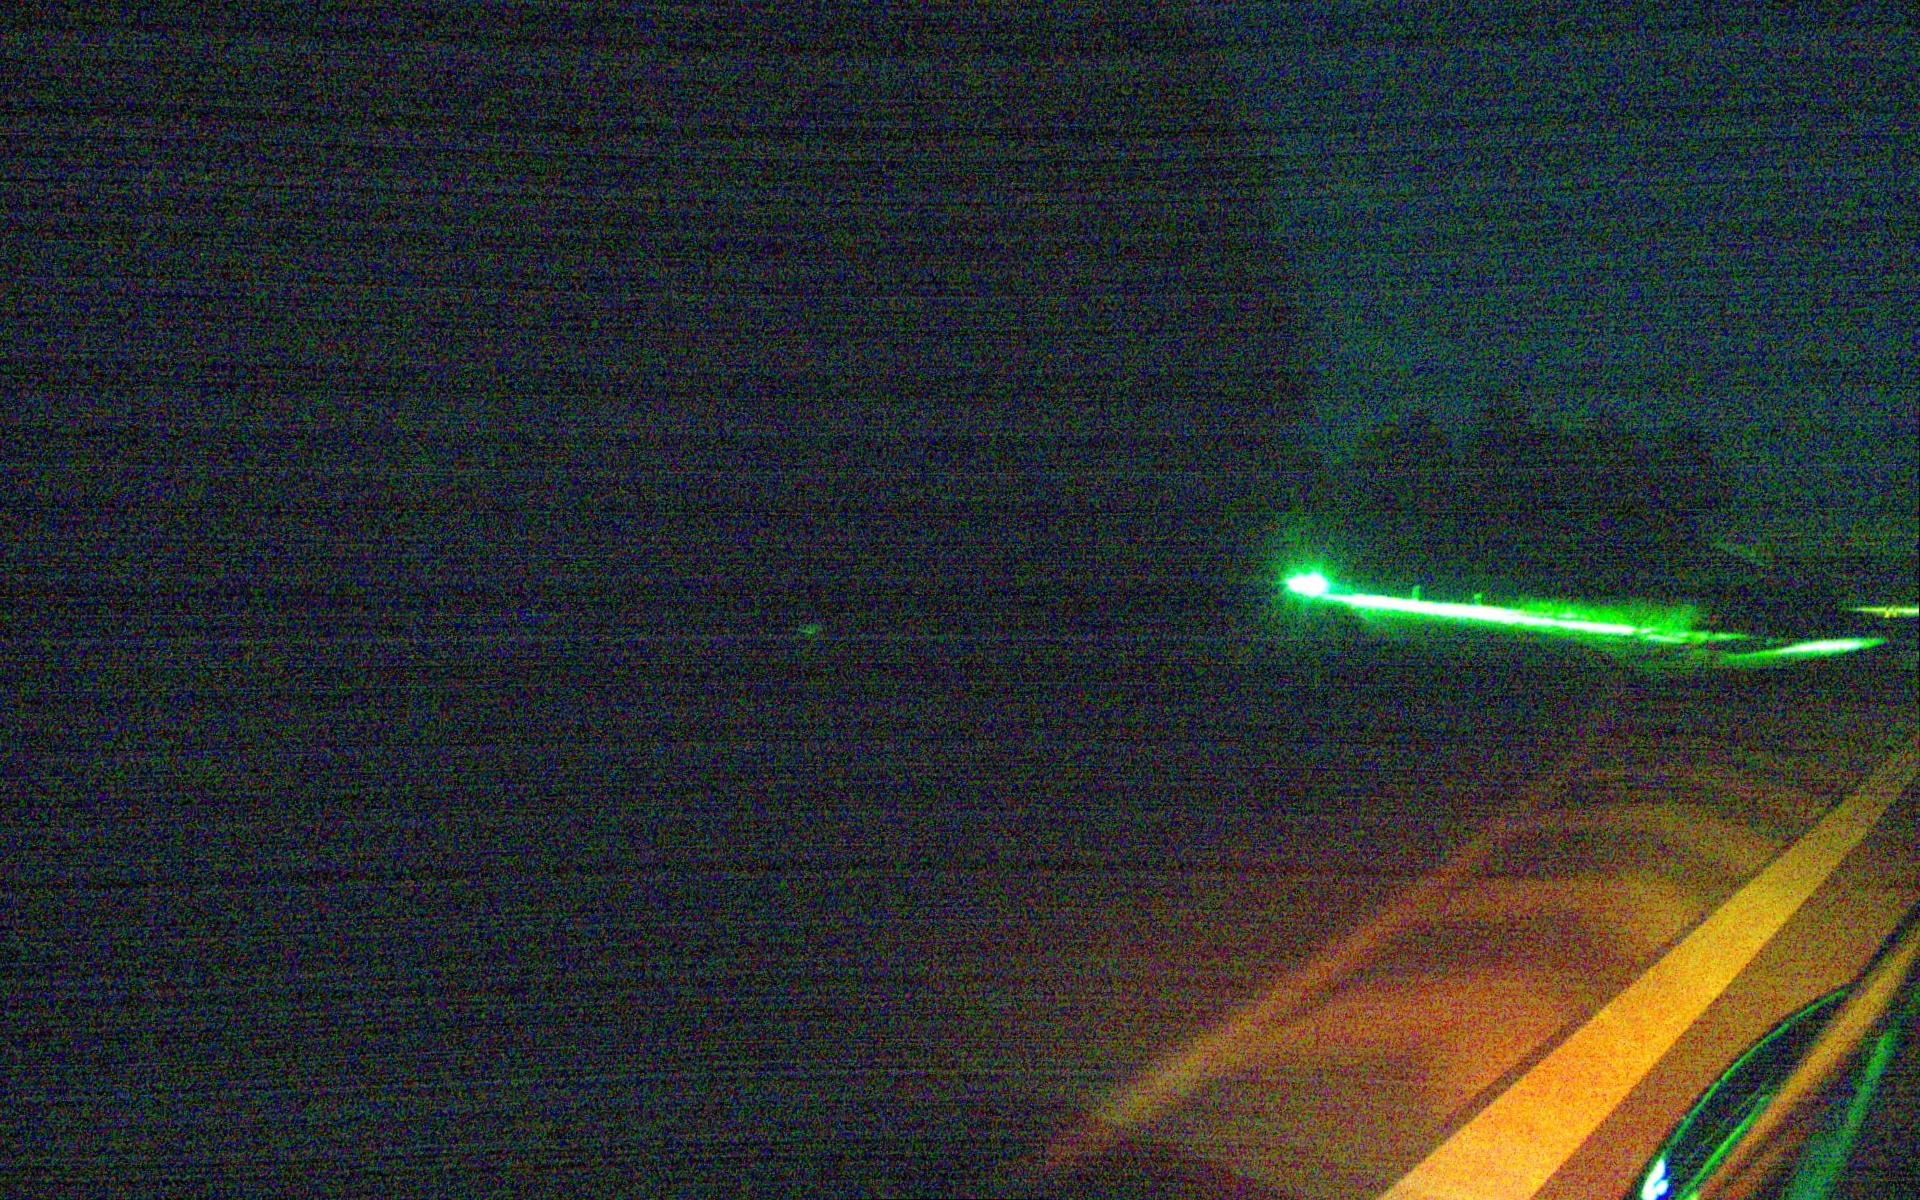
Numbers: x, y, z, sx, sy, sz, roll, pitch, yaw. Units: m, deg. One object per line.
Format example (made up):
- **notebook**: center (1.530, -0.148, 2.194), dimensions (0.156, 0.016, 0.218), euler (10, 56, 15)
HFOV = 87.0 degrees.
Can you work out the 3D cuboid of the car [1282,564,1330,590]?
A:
- **car**: center (25.686, -1.672, 75.356), dimensions (1.960, 1.877, 4.003), euler (0, 0, -4)
